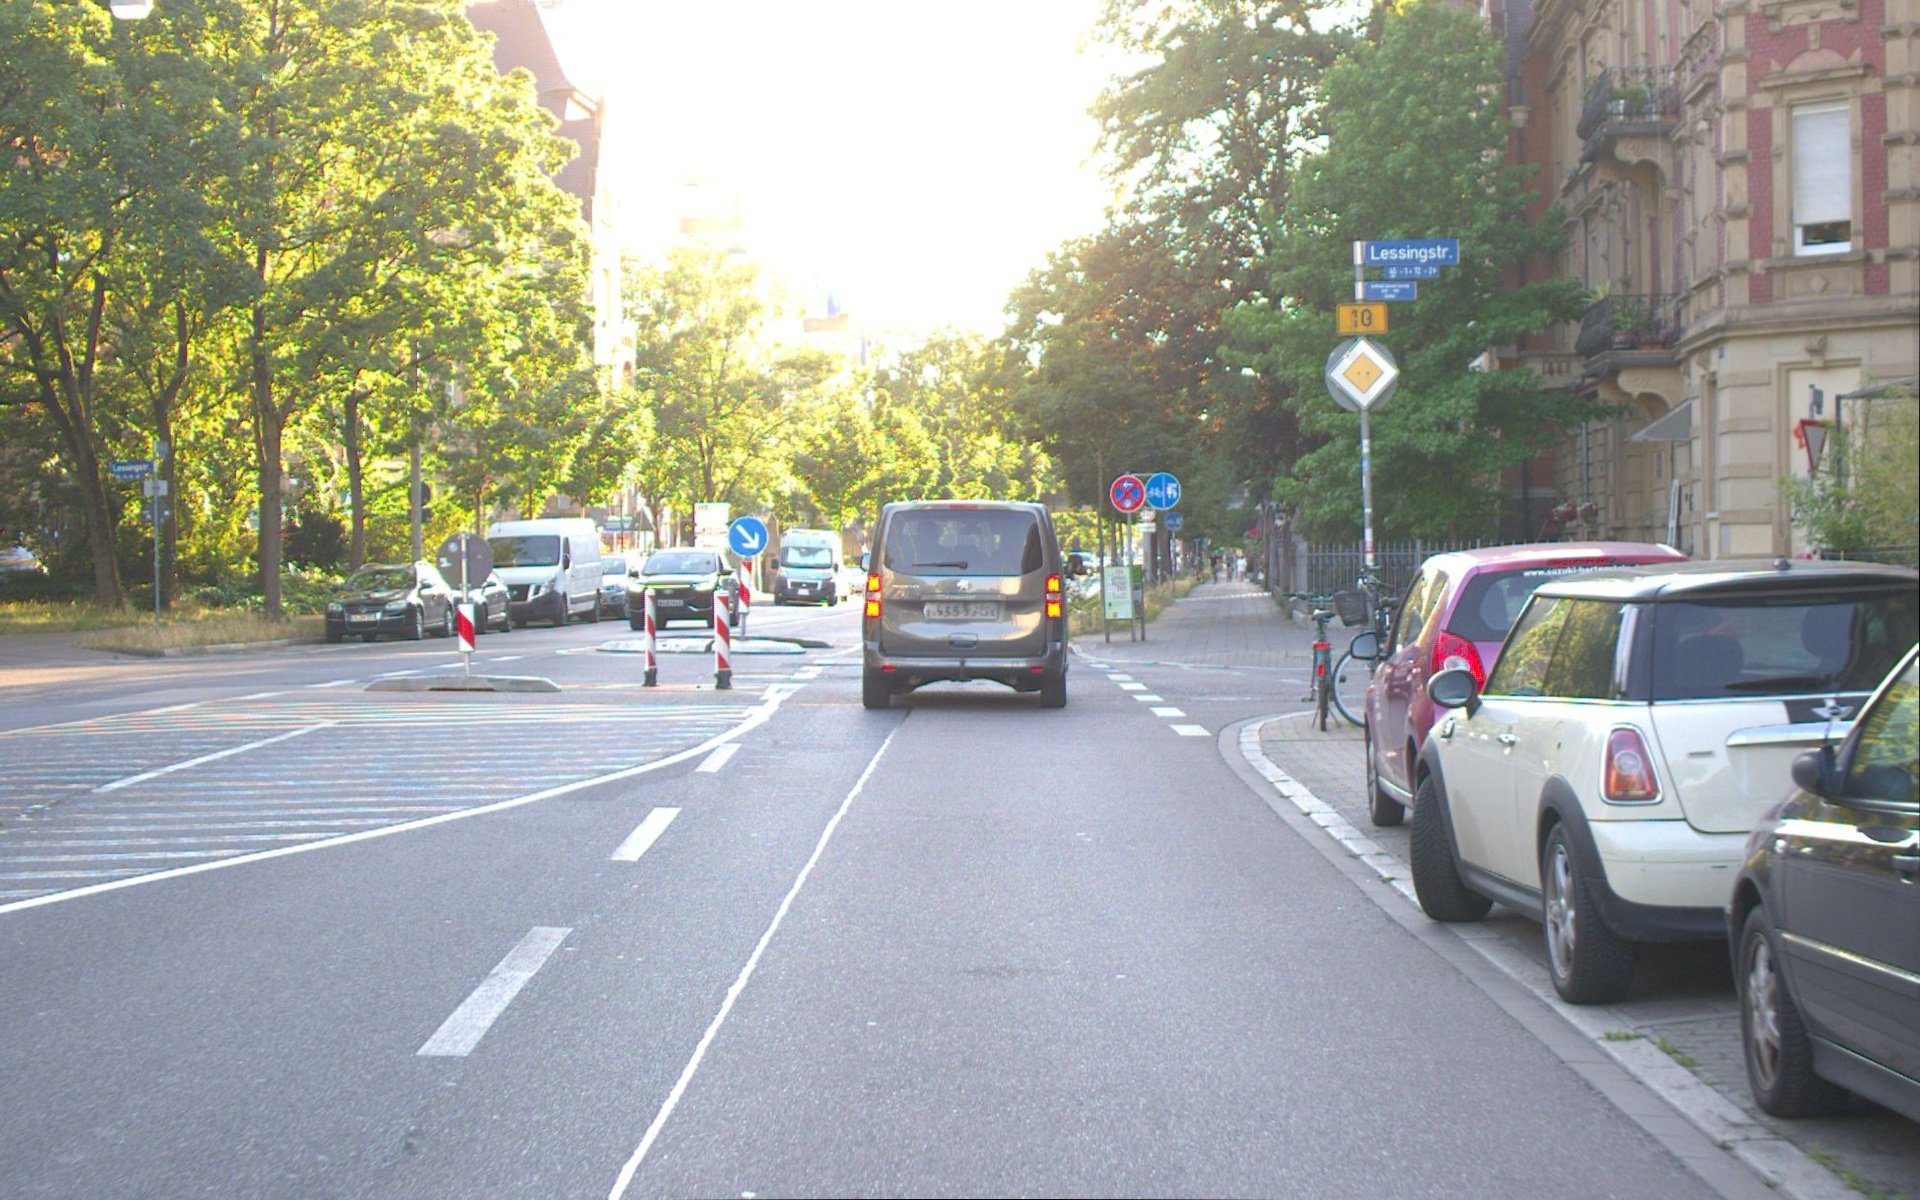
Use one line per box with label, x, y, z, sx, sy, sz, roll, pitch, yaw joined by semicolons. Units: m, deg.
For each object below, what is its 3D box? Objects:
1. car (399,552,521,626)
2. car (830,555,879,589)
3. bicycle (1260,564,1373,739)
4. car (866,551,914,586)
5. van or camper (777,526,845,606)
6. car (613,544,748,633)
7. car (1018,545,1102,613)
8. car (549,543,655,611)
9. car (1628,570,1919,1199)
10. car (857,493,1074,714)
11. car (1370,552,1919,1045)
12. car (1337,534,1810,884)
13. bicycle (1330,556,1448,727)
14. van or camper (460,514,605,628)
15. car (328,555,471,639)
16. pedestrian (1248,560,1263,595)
car;-10.343;-0.255;71.376;1.628;1.424;4.242;-1;1;4
car;-4.088;-1.100;133.416;1.536;1.244;3.614;1;1;4
bicycle;2.829;0.403;27.452;0.565;1.295;2.265;-4;-1;0
car;-3.008;-1.351;148.129;1.697;1.446;4.000;1;1;4
van or camper;-5.133;-1.194;119.193;1.993;2.659;6.039;1;1;0
car;-5.767;-0.269;71.447;1.877;1.700;4.566;-3;0;6
car;2.511;-0.534;85.542;1.994;1.628;4.000;0;1;3
car;-8.958;-0.597;86.379;1.866;1.639;4.571;-1;1;4
car;2.966;0.649;7.998;1.887;1.421;4.342;-4;1;0
car;0.090;-0.002;32.337;1.887;1.918;3.839;-1;1;1
car;2.643;0.589;12.527;1.677;1.421;3.677;-4;1;-2
car;2.945;0.458;17.191;1.726;1.460;3.546;-4;1;1
bicycle;3.404;0.330;27.456;0.565;1.271;2.265;-4;-1;0
van or camper;-9.733;-0.693;78.778;2.091;2.460;6.305;-1;1;4
car;-10.596;-0.078;65.296;1.624;1.501;4.543;-1;1;5
pedestrian;13.800;-1.067;160.662;0.645;1.627;0.656;1;1;5
